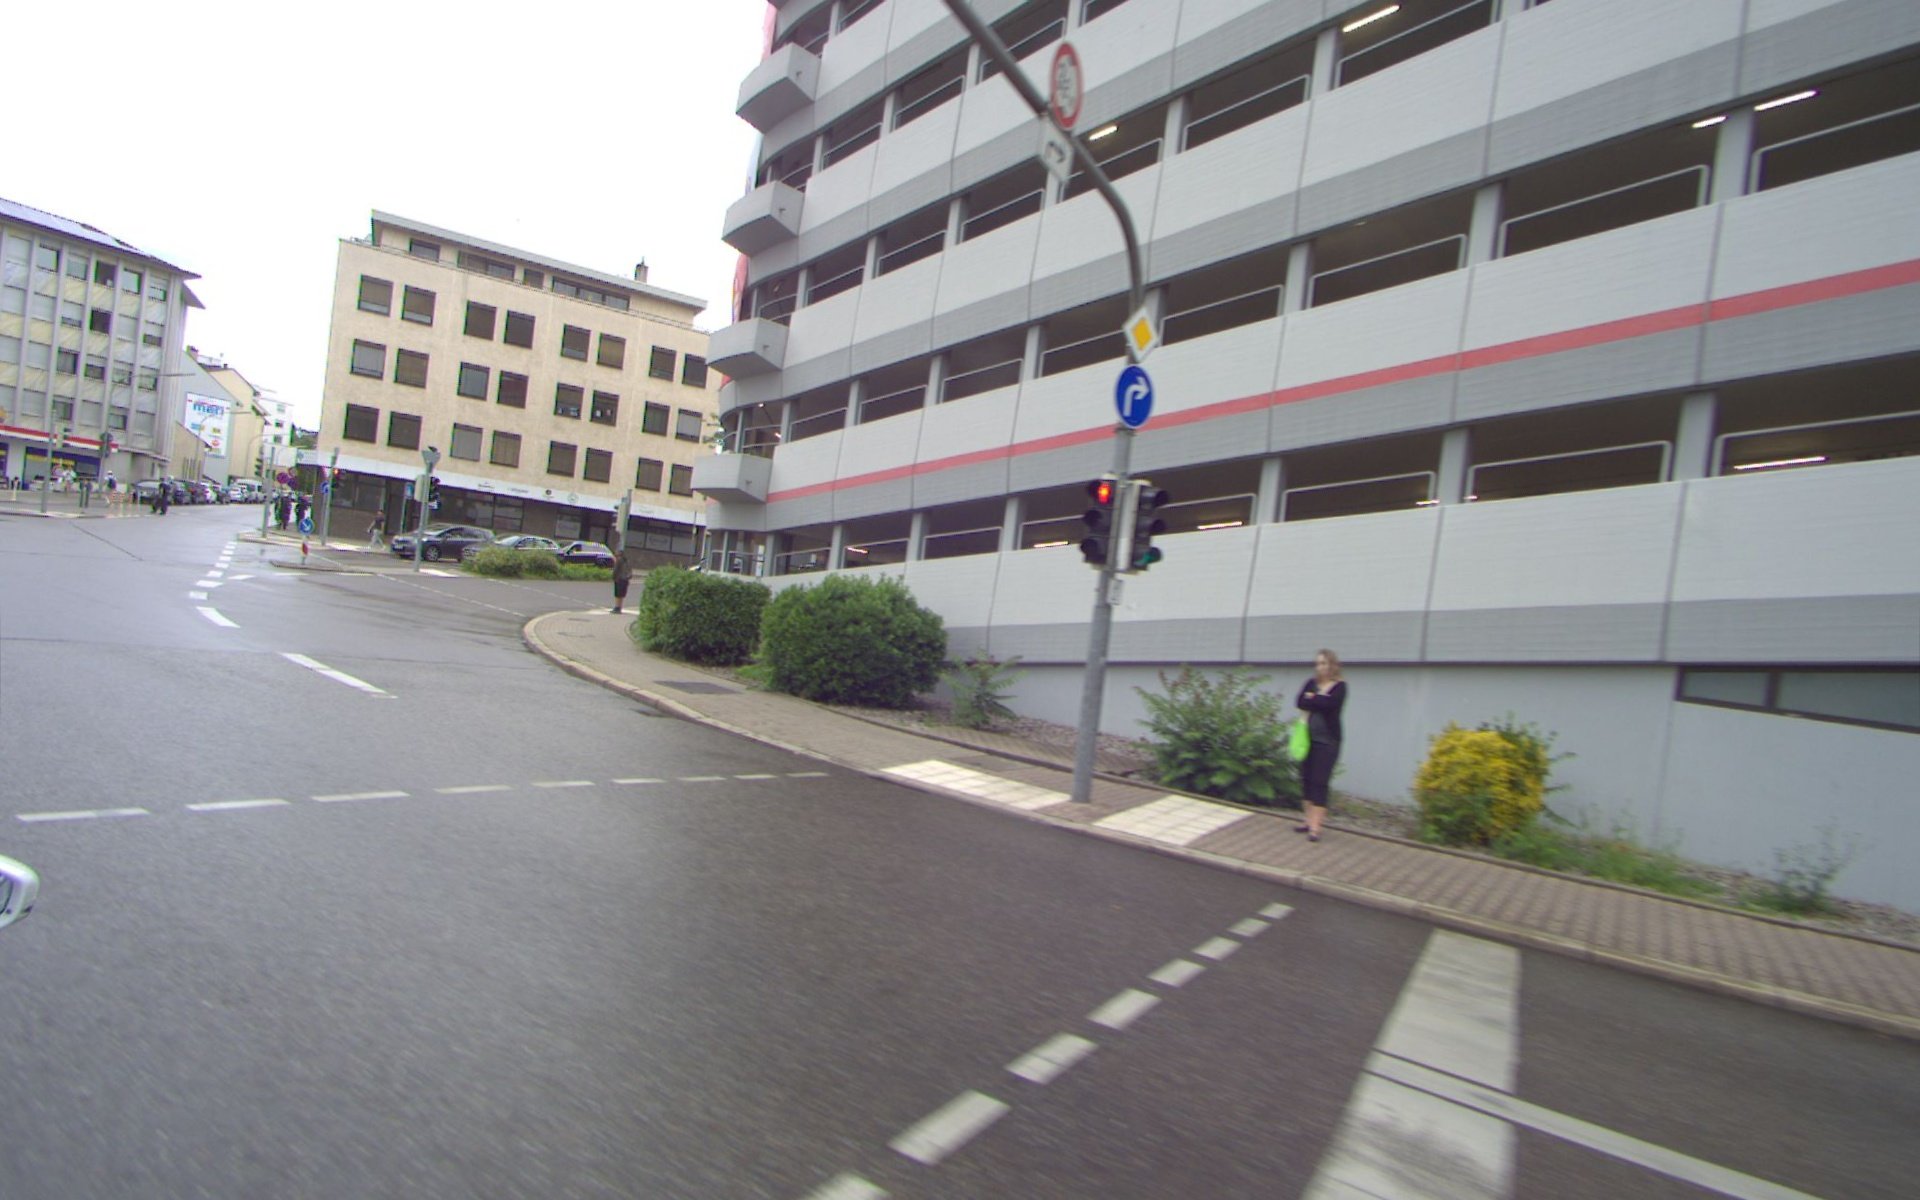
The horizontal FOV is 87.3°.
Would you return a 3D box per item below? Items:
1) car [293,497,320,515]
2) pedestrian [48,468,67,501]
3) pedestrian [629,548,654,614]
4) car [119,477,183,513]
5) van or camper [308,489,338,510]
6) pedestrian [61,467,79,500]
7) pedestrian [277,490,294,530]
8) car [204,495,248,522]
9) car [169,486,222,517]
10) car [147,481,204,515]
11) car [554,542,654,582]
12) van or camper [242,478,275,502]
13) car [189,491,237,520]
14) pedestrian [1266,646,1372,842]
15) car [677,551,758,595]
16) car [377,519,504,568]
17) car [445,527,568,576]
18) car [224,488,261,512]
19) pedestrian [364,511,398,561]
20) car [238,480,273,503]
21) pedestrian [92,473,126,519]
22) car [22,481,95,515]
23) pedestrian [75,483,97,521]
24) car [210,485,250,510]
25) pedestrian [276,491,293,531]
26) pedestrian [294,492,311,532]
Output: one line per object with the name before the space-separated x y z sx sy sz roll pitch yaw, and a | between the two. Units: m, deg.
car | -76.412 -10.964 117.673 1.974 1.735 4.358 6 0 -25
pedestrian | -50.130 -6.414 55.894 0.522 1.749 0.683 6 1 -32
pedestrian | -14.218 -0.842 44.896 0.701 2.868 0.653 6 1 -9
car | -49.204 -6.347 61.277 1.974 1.727 3.975 6 0 -25
van or camper | -66.974 -10.557 105.816 1.974 1.735 4.358 6 0 -25
pedestrian | -47.739 -6.264 53.942 0.480 1.659 0.436 7 -2 -31
pedestrian | -35.046 -4.682 52.249 0.439 2.037 0.397 5 -2 32
car | -58.459 -7.260 80.197 1.974 1.727 3.975 6 0 -25
car | -53.354 -6.857 70.302 1.974 1.727 3.975 6 0 -25
car | -51.342 -6.647 65.917 1.974 1.727 3.975 6 0 -25
car | -17.476 -1.839 49.509 1.832 1.457 4.178 7 0 40
van or camper | -74.045 -11.544 106.270 1.974 2.004 4.486 6 0 -25
car | -56.040 -7.045 75.495 1.974 1.727 3.975 6 0 -25
pedestrian | 3.345 1.335 9.383 0.638 1.730 0.469 6 -2 -23
car | -13.508 -1.475 55.978 4.081 1.789 1.895 7 -3 -17
car | -21.364 -2.292 41.510 1.831 1.457 4.181 7 0 37
car | -18.643 -1.985 41.494 1.830 1.457 4.183 7 0 36
car | -66.895 -9.321 93.850 1.974 1.727 3.975 6 0 -25
pedestrian | -25.710 -2.840 44.684 0.717 2.037 0.880 5 -2 32
car | -70.364 -10.822 100.514 1.974 1.735 4.358 6 0 -25
pedestrian | -42.975 -5.248 50.794 0.931 2.155 0.856 7 1 25
car | -57.245 -6.454 63.948 1.972 1.414 3.986 7 -3 -20
pedestrian | -33.733 -3.782 38.823 0.439 1.416 0.397 5 -2 32
car | -64.817 -9.091 89.353 1.974 1.727 3.975 6 0 -25
pedestrian | -35.523 -4.700 52.927 0.439 2.037 0.397 5 -2 32
pedestrian | -34.419 -4.588 52.639 0.439 2.037 0.397 5 -2 32
